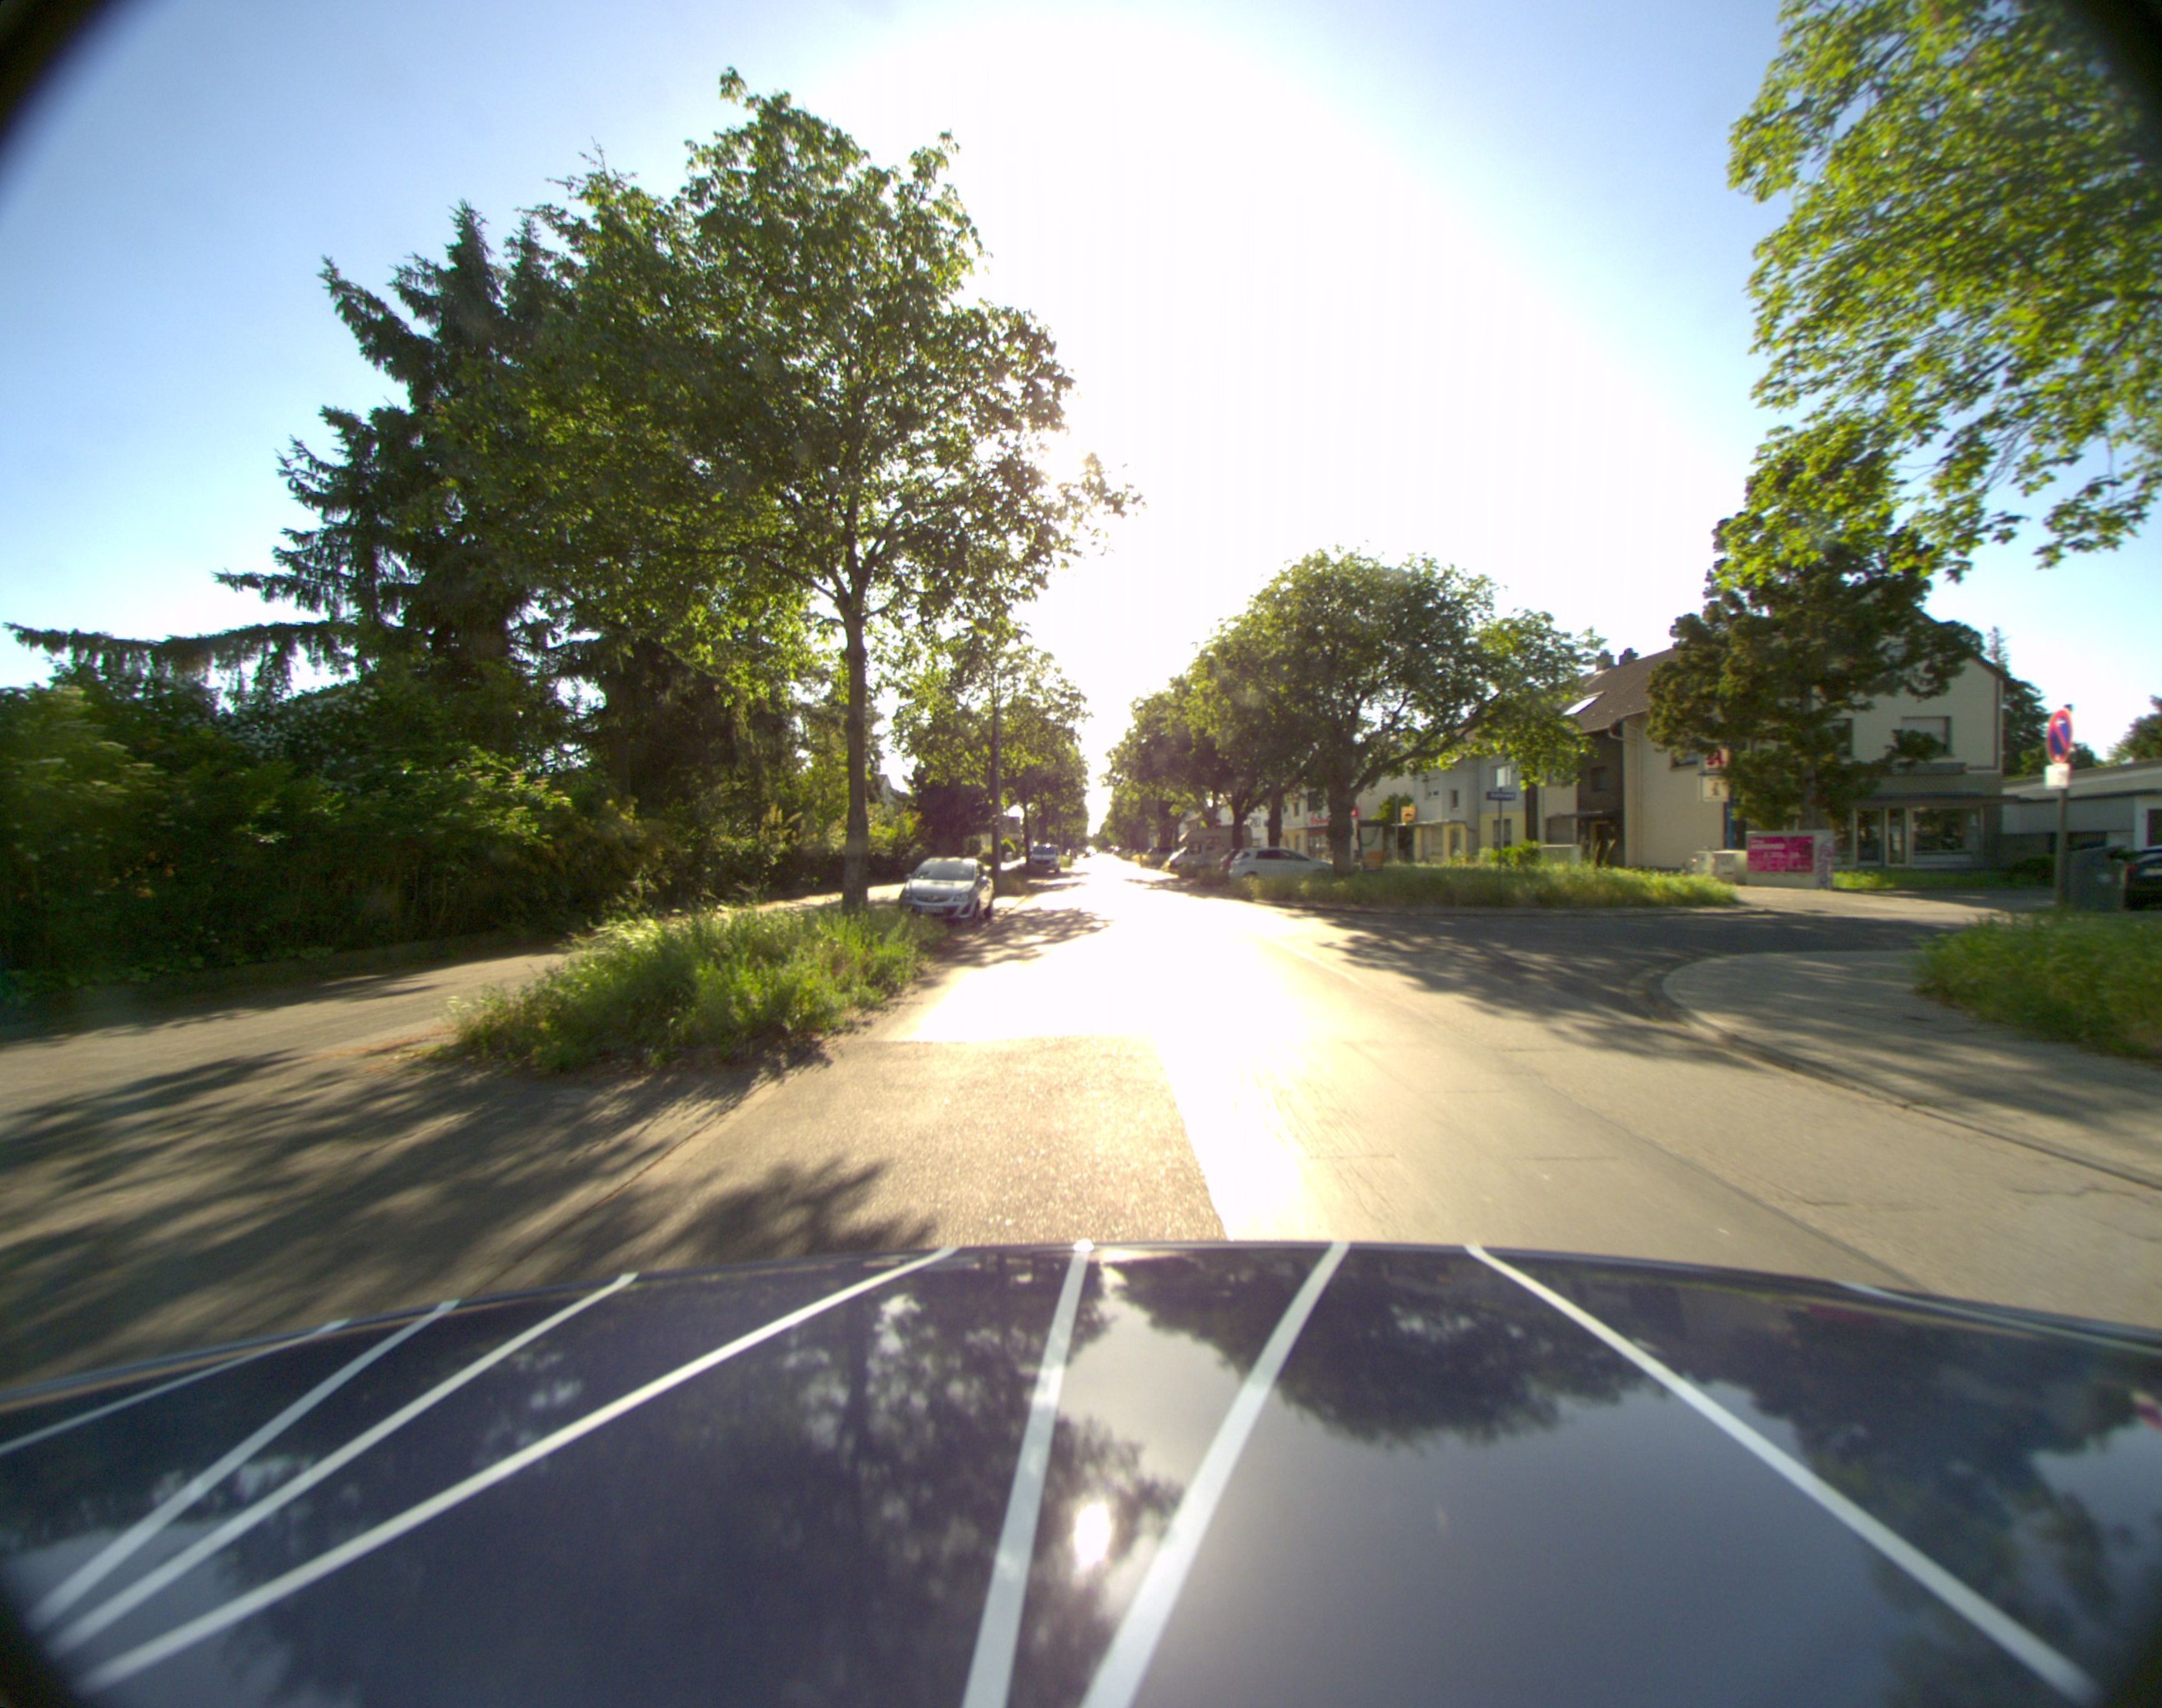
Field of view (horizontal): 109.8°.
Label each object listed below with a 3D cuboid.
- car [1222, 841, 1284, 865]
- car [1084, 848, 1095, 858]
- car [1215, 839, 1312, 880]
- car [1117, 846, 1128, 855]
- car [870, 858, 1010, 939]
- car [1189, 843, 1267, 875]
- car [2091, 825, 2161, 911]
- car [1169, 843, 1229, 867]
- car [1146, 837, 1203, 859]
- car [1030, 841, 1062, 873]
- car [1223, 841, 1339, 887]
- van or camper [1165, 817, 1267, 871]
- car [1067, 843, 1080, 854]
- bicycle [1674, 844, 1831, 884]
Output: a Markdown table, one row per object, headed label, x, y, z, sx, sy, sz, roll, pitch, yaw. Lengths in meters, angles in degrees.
| label | x | y | z | sx | sy | sz | roll | pitch | yaw |
| --- | --- | --- | --- | --- | --- | --- | --- | --- | --- |
| car | 12.585 | -0.093 | 55.706 | 3.998 | 1.534 | 1.869 | -2 | 2 | -4 |
| car | 1.371 | -0.175 | 126.583 | 1.539 | 1.583 | 3.458 | -4 | 2 | 3 |
| car | 8.523 | 0.243 | 35.760 | 3.997 | 1.580 | 1.999 | -4 | 2 | 0 |
| car | 7.855 | -0.710 | 144.114 | 1.998 | 1.530 | 3.694 | -4 | 1 | 3 |
| car | -3.089 | 0.926 | 17.590 | 1.997 | 1.502 | 4.001 | 0 | 2 | 8 |
| car | 8.388 | 0.273 | 43.603 | 3.997 | 1.450 | 1.999 | -4 | 2 | -1 |
| car | 23.566 | 0.233 | 15.302 | 3.997 | 1.705 | 1.822 | -1 | 1 | 1 |
| car | 8.230 | 0.058 | 53.295 | 3.996 | 1.441 | 1.639 | -3 | 2 | 4 |
| car | 9.048 | -0.589 | 73.717 | 5.075 | 1.718 | 1.999 | -4 | 2 | -3 |
| car | -2.458 | 0.156 | 54.919 | 1.999 | 2.002 | 5.194 | -4 | 1 | 0 |
| car | 7.742 | 0.372 | 29.751 | 3.997 | 1.651 | 1.966 | -2 | 1 | 0 |
| van or camper | 8.169 | -0.616 | 46.455 | 5.789 | 2.789 | 2.000 | -4 | 2 | 3 |
| car | -1.209 | -0.953 | 128.166 | 1.941 | 1.684 | 4.362 | -2 | 1 | 3 |
| bicycle | 21.429 | 0.304 | 24.470 | 0.706 | 1.170 | 4.051 | -1 | 0 | -16 |
